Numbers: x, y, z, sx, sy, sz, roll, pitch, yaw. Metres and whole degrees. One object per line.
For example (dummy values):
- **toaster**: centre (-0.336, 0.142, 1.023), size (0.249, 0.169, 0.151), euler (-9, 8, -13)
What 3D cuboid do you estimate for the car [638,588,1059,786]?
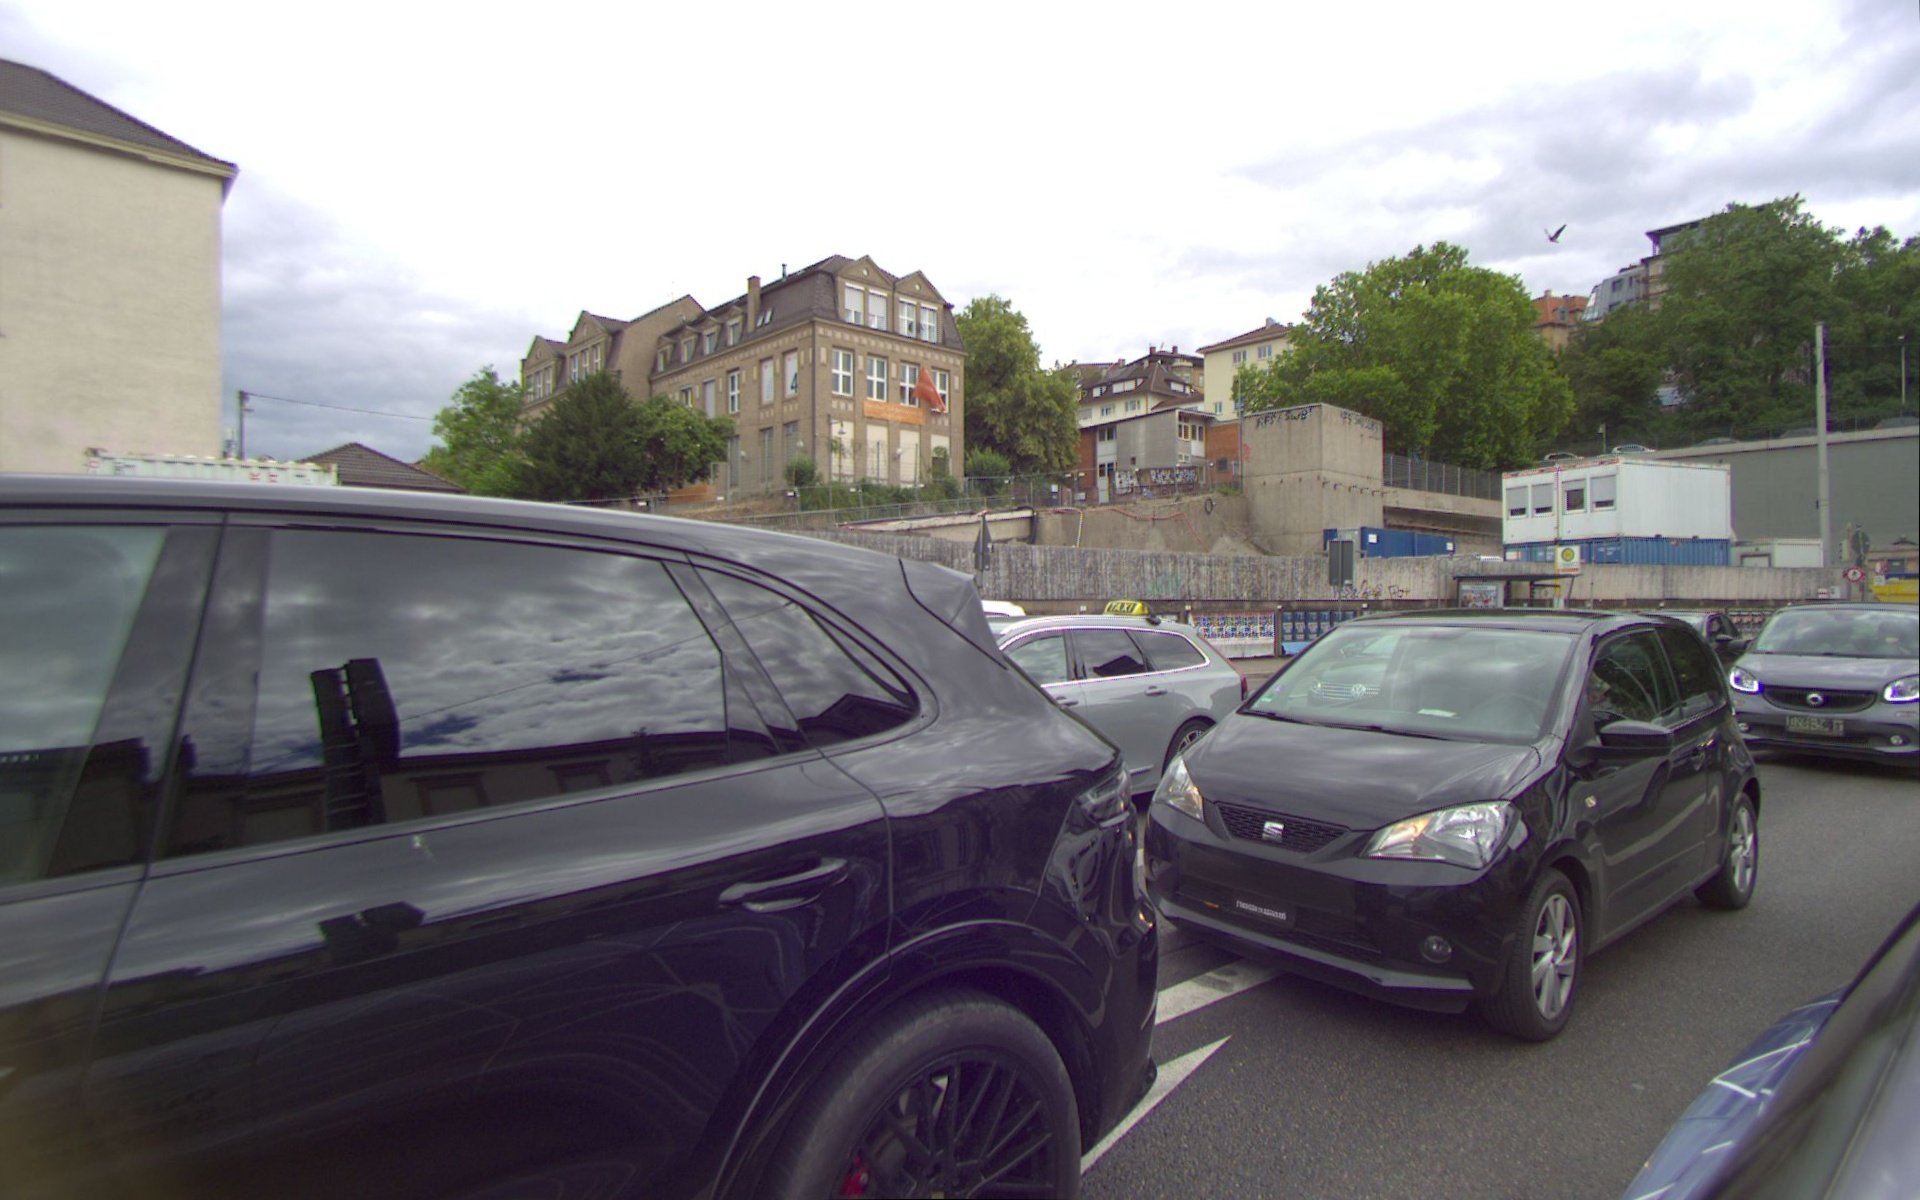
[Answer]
- **car**: centre (-1.006, 0.709, 10.479), size (4.136, 1.645, 1.679), euler (-1, 0, -41)

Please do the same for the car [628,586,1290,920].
- **car**: centre (0.270, 0.732, 7.262), size (4.725, 1.645, 1.827), euler (-1, 0, -41)

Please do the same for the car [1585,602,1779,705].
- **car**: centre (11.509, 0.751, 16.054), size (3.740, 1.383, 1.679), euler (-1, 0, -41)

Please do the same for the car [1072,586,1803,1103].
- **car**: centre (2.437, 0.679, 4.791), size (3.636, 1.476, 1.827), euler (-1, 0, -41)

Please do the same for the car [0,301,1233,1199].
- **car**: centre (-1.621, 0.574, 1.601), size (4.406, 1.737, 1.827), euler (-1, 0, -41)

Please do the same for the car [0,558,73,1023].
- **car**: centre (-5.304, 0.688, 3.040), size (3.930, 1.645, 1.679), euler (-1, 0, -41)

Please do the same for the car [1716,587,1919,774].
- **car**: centre (9.011, 0.676, 9.991), size (3.511, 1.563, 1.720), euler (0, 0, -40)

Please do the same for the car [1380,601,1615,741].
- **car**: centre (6.526, 0.749, 12.237), size (2.667, 1.450, 1.664), euler (-1, 0, -41)
